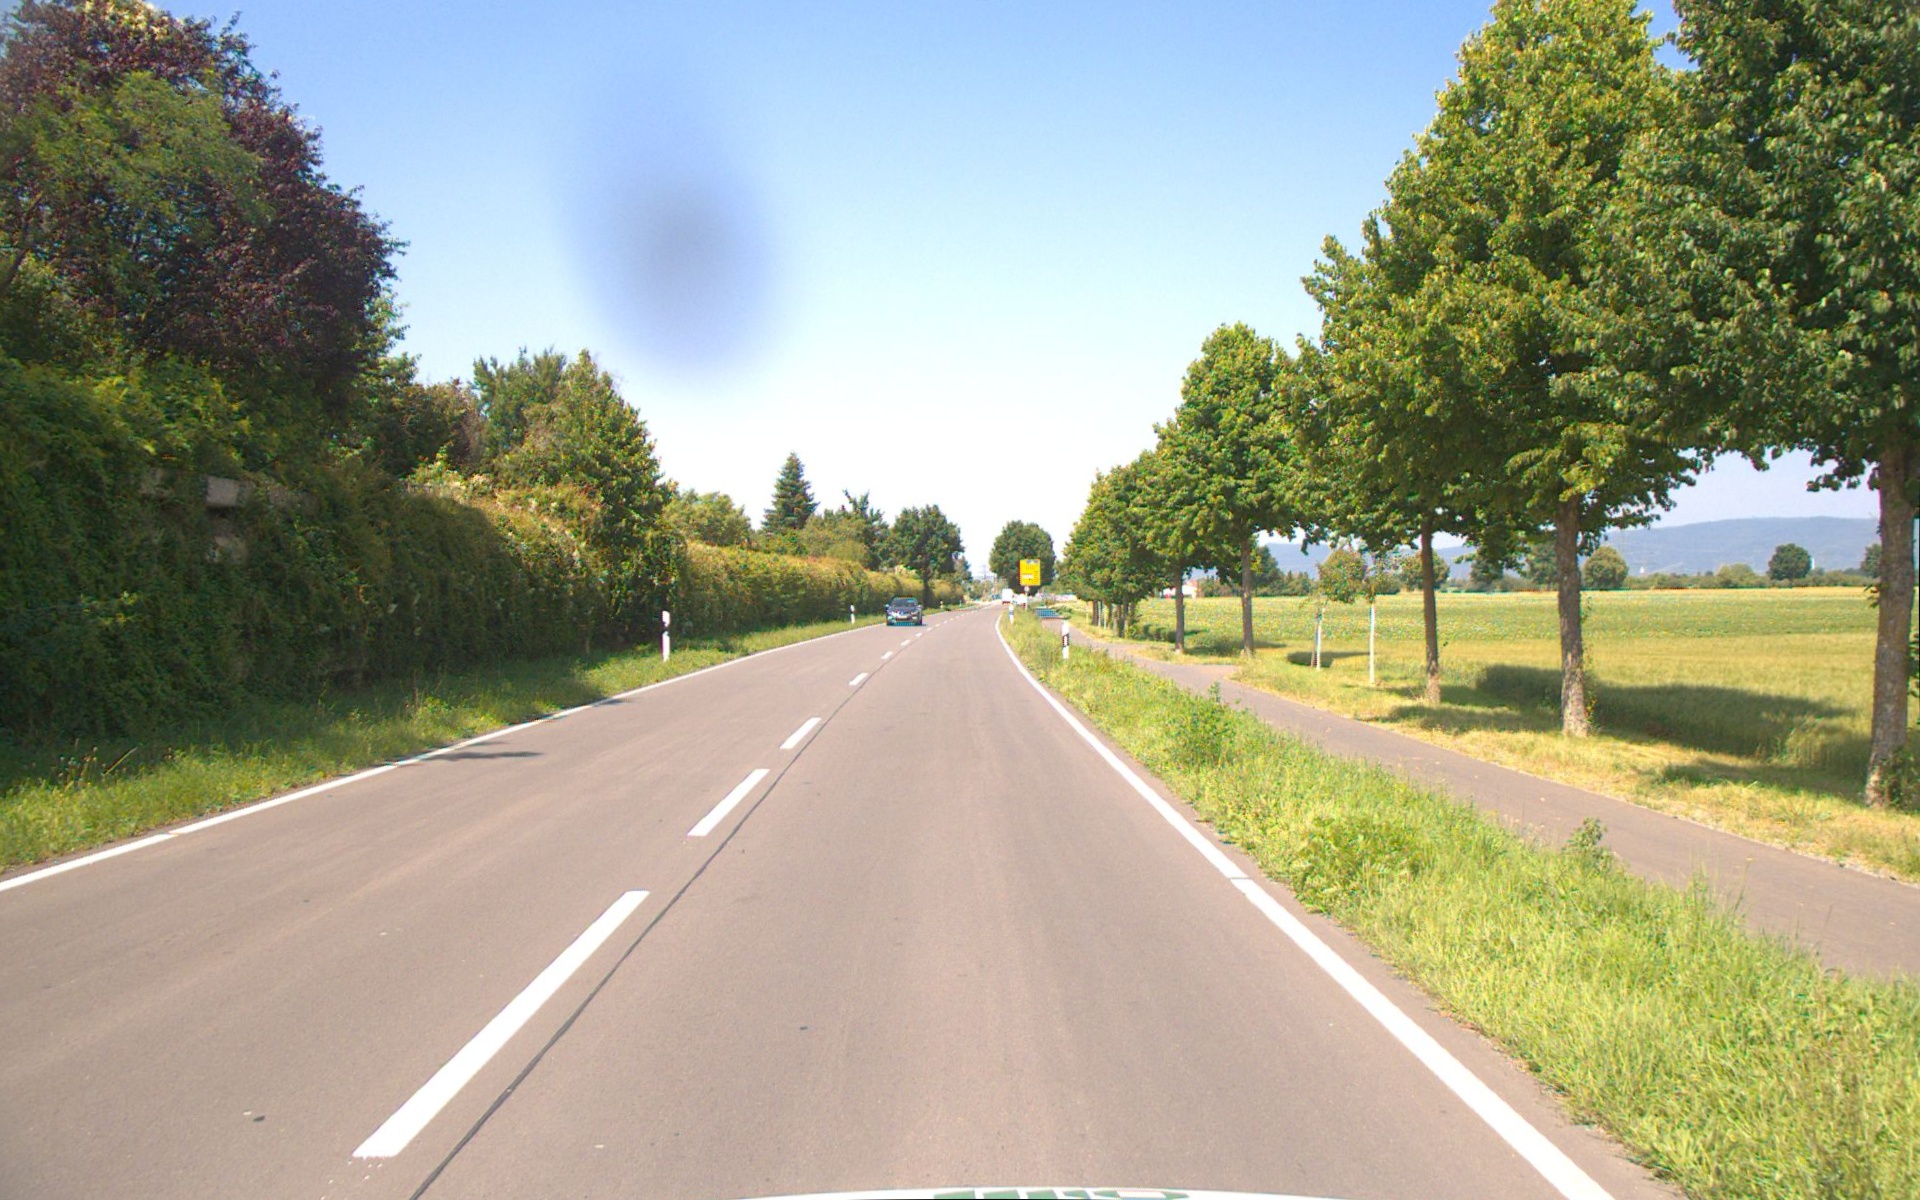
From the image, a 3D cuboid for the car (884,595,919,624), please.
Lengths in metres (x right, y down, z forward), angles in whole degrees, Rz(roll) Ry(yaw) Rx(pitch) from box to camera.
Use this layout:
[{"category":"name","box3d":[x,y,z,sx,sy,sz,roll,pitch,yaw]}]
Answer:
[{"category":"car","box3d":[-3.129,0.516,88.871,1.802,1.493,3.932,-1,0,-1]}]
